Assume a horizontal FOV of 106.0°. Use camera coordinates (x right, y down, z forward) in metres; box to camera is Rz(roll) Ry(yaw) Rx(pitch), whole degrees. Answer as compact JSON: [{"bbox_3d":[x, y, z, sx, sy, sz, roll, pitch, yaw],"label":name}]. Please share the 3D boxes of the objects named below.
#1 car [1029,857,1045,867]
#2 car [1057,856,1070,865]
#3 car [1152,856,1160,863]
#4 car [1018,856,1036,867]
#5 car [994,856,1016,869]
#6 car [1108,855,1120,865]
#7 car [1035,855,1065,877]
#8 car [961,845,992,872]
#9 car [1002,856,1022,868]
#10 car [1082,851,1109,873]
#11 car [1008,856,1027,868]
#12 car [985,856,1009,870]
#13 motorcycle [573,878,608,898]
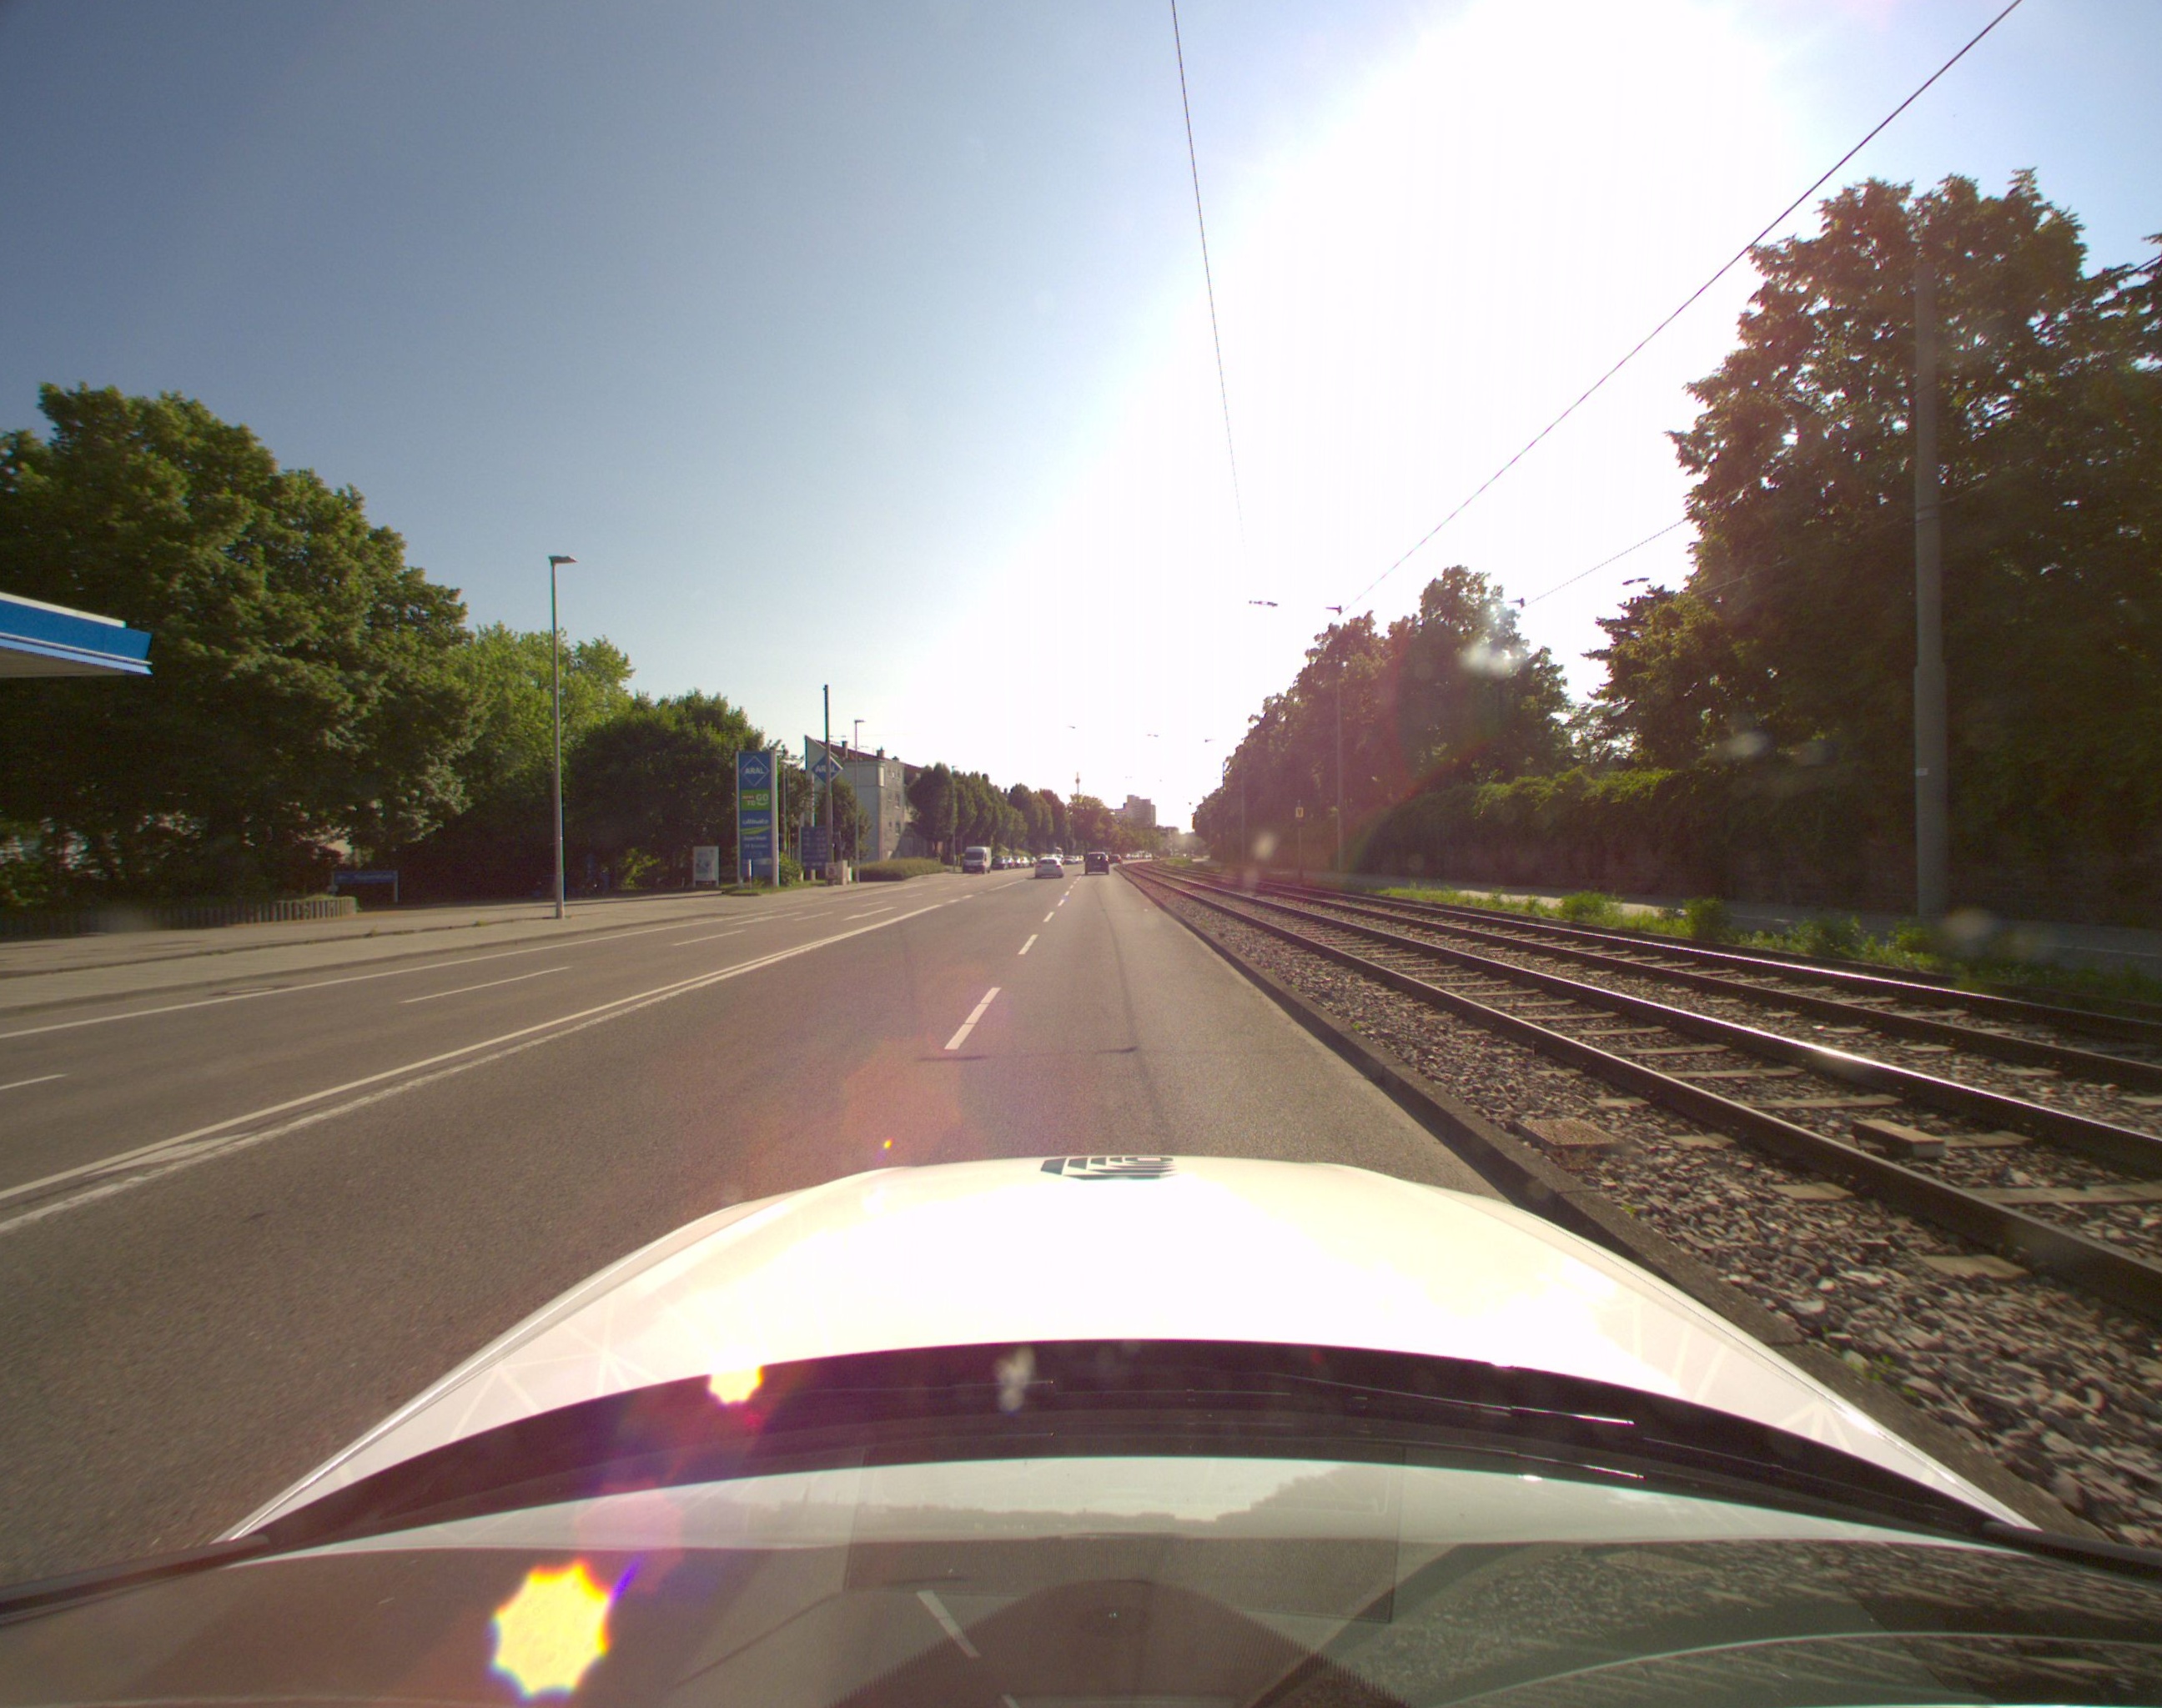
[{"bbox_3d":[-6.699,1.213,125.386,1.985,1.416,3.847,-2,0,3],"label":"car"},{"bbox_3d":[-3.109,1.143,146.819,1.985,1.416,3.847,-2,0,3],"label":"car"},{"bbox_3d":[18.363,1.270,199.868,1.715,1.593,3.608,0,0,7],"label":"car"},{"bbox_3d":[-7.489,1.091,113.936,1.985,1.416,3.847,-2,0,3],"label":"car"},{"bbox_3d":[-9.015,1.007,97.143,1.985,1.416,3.847,-2,0,3],"label":"car"},{"bbox_3d":[5.043,0.896,123.660,1.716,1.593,3.605,0,0,4],"label":"car"},{"bbox_3d":[-2.015,0.780,54.351,1.774,1.356,3.602,0,0,1],"label":"car"},{"bbox_3d":[-9.686,0.419,75.774,1.984,2.376,4.544,-2,0,4],"label":"car"},{"bbox_3d":[-8.702,1.046,102.846,1.985,1.416,3.847,-2,0,3],"label":"car"},{"bbox_3d":[1.068,0.595,60.721,1.720,1.593,3.597,0,0,-3],"label":"car"},{"bbox_3d":[-8.442,1.072,108.031,1.985,1.416,3.847,-2,0,3],"label":"car"},{"bbox_3d":[-9.371,1.013,91.114,1.985,1.416,3.847,-2,0,3],"label":"car"},{"bbox_3d":[-24.279,1.686,40.321,0.668,0.901,1.671,-2,0,2],"label":"motorcycle"}]
